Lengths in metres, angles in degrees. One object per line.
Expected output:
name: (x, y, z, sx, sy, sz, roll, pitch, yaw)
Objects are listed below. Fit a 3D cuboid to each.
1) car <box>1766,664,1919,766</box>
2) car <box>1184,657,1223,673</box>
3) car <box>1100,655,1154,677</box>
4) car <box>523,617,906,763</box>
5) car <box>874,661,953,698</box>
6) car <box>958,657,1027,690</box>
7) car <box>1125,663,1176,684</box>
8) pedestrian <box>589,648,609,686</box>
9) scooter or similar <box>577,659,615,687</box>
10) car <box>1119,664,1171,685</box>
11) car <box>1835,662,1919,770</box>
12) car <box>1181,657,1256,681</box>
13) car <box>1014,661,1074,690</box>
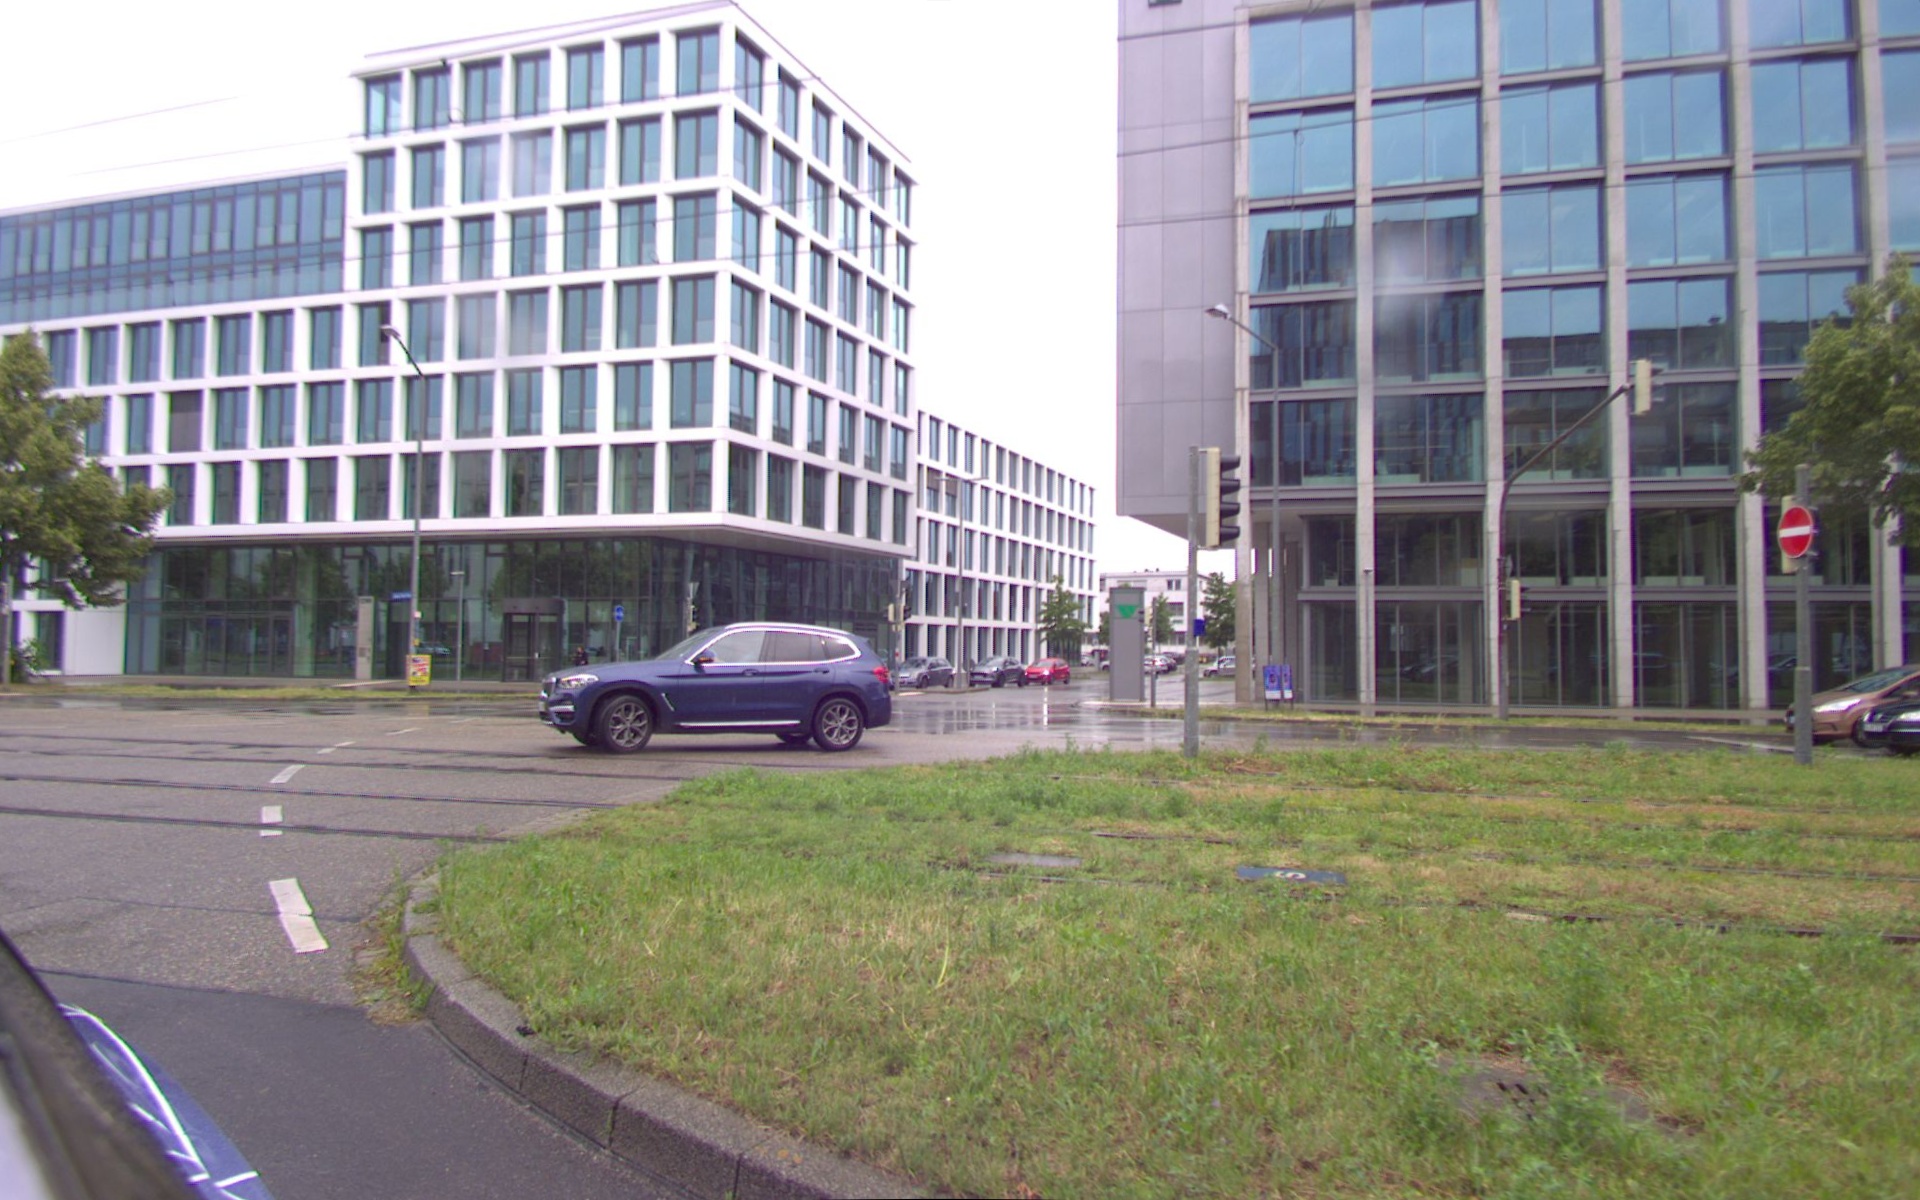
car: (17.767, 2.048, 18.463, 4.228, 1.707, 1.949, -2, -3, 12)
car: (27.430, 7.318, 113.913, 3.974, 1.675, 1.985, -3, -3, 23)
car: (13.610, 5.350, 82.575, 3.974, 1.675, 1.985, -3, -3, 23)
car: (-3.248, 1.166, 13.586, 4.634, 1.673, 1.935, 2, -4, -27)
car: (-1.941, 3.382, 43.460, 1.875, 1.447, 4.063, -3, -3, 22)
car: (1.634, 3.585, 49.605, 1.878, 1.447, 4.057, -3, -3, 26)
car: (16.679, 6.419, 88.654, 3.974, 1.675, 1.985, -3, -3, 23)
pedestrian: (-16.001, 2.982, 44.861, 0.541, 1.656, 0.632, 1, -3, 15)
scooter or similar: (-16.083, 3.213, 44.793, 0.545, 1.161, 2.154, -2, -3, 11)
car: (15.797, 6.373, 86.372, 3.974, 1.675, 1.985, -3, -3, 23)
car: (16.645, 1.729, 15.494, 4.419, 1.571, 1.949, -2, -3, 13)
car: (17.698, 4.733, 69.319, 4.637, 1.519, 1.982, -3, -4, 28)
car: (4.681, 4.129, 55.890, 1.878, 1.447, 4.057, -3, -3, 26)
